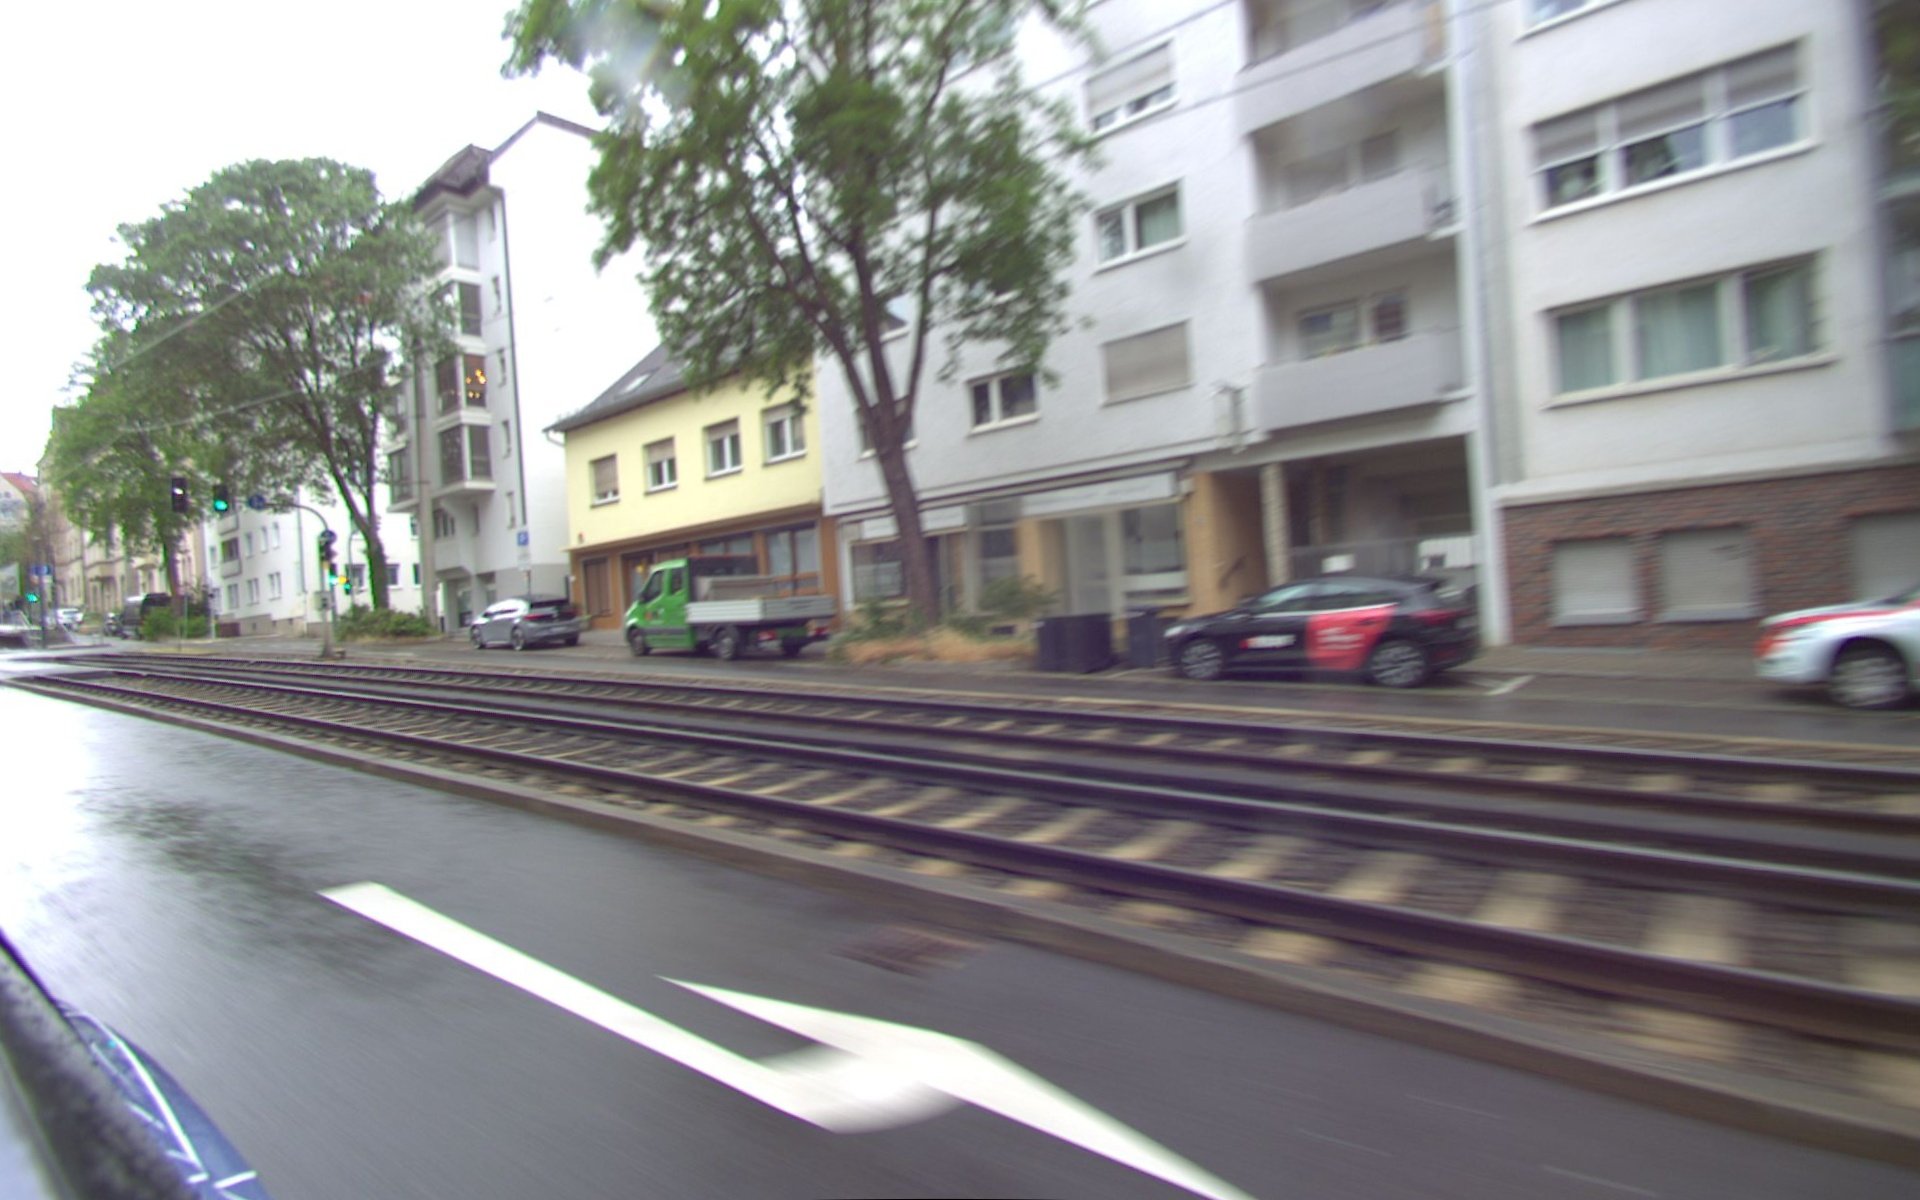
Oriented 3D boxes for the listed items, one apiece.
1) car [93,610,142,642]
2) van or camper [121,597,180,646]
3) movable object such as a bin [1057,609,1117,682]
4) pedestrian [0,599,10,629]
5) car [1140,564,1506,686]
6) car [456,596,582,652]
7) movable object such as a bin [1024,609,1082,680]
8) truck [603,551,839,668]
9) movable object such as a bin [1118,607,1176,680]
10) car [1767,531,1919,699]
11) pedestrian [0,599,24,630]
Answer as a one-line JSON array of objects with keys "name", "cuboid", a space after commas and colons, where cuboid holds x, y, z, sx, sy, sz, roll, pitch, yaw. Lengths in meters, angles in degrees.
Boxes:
[{"name": "car", "cuboid": [-56.718, 1.762, 68.094, 3.999, 2.029, 1.972, -2, 0, 42]}, {"name": "van or camper", "cuboid": [-49.479, 1.297, 61.819, 5.211, 2.819, 1.972, -1, 0, 42]}, {"name": "movable object such as a bin", "cuboid": [2.055, 0.724, 16.337, 0.670, 1.130, 0.718, -2, 0, 35]}, {"name": "pedestrian", "cuboid": [-60.716, 0.913, 63.953, 0.860, 1.865, 0.892, -2, 0, 42]}, {"name": "car", "cuboid": [4.989, 0.318, 14.264, 4.465, 1.451, 1.887, -2, 1, 40]}, {"name": "car", "cuboid": [-13.244, 0.723, 30.303, 4.358, 1.471, 1.687, -2, 2, 41]}, {"name": "movable object such as a bin", "cuboid": [1.547, 0.732, 16.849, 0.670, 1.130, 0.718, -2, 0, 35]}, {"name": "truck", "cuboid": [-5.720, 0.167, 23.556, 6.352, 2.363, 2.168, 0, 1, 43]}, {"name": "movable object such as a bin", "cuboid": [3.049, 0.699, 16.488, 0.670, 1.130, 0.718, -2, 0, 35]}, {"name": "car", "cuboid": [10.347, 0.098, 9.600, 4.155, 1.581, 1.758, -2, 0, 40]}, {"name": "pedestrian", "cuboid": [-56.898, 0.861, 60.567, 0.965, 1.796, 1.106, -2, 0, 40]}]
